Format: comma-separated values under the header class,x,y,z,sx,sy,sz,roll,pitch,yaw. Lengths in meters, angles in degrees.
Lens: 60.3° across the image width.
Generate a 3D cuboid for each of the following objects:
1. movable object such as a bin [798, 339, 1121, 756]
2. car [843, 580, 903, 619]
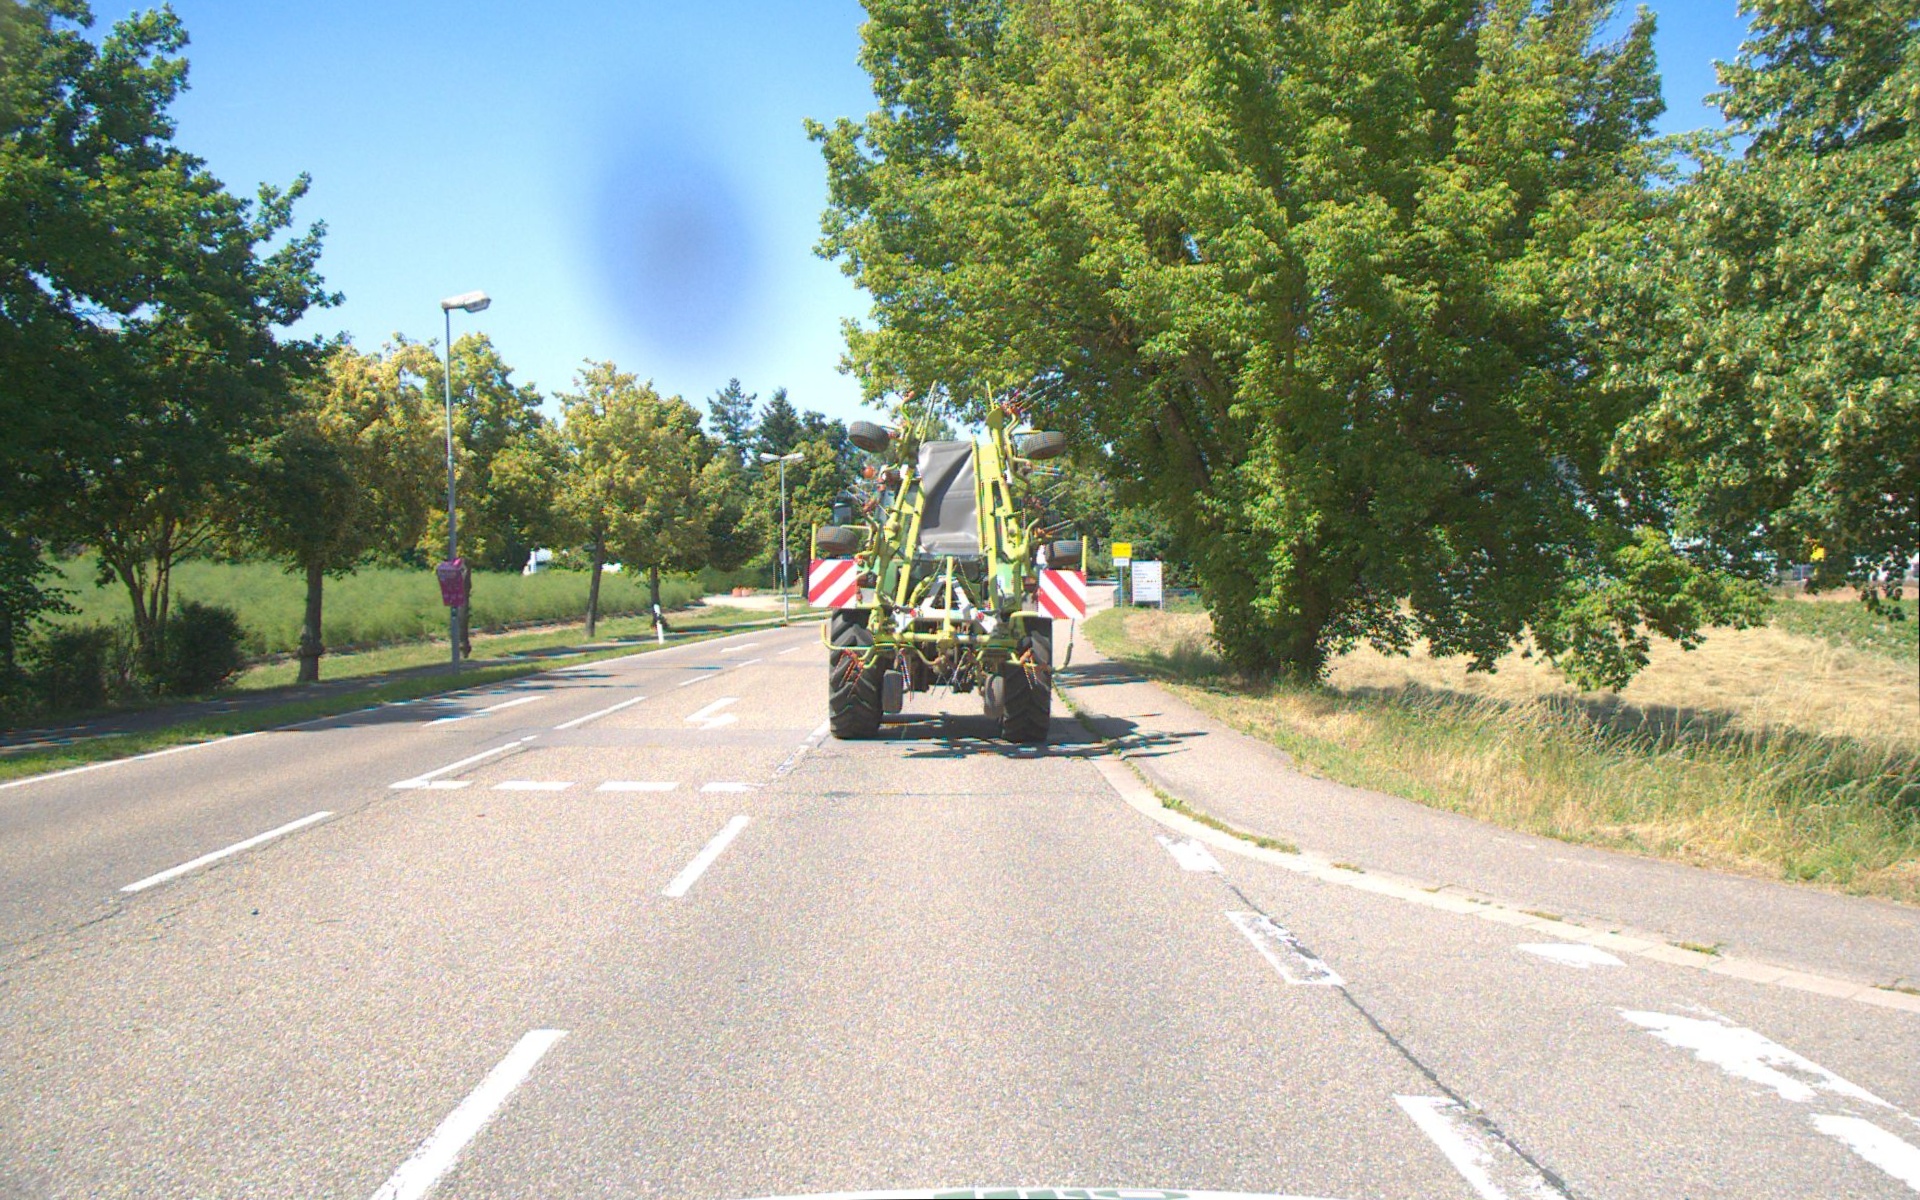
class,x,y,z,sx,sy,sz,roll,pitch,yaw
movable object such as a bin,-0.131,-0.495,19.197,2.795,3.603,9.698,0,1,-2
car,-3.407,-0.035,65.491,1.613,1.459,3.900,2,1,8
